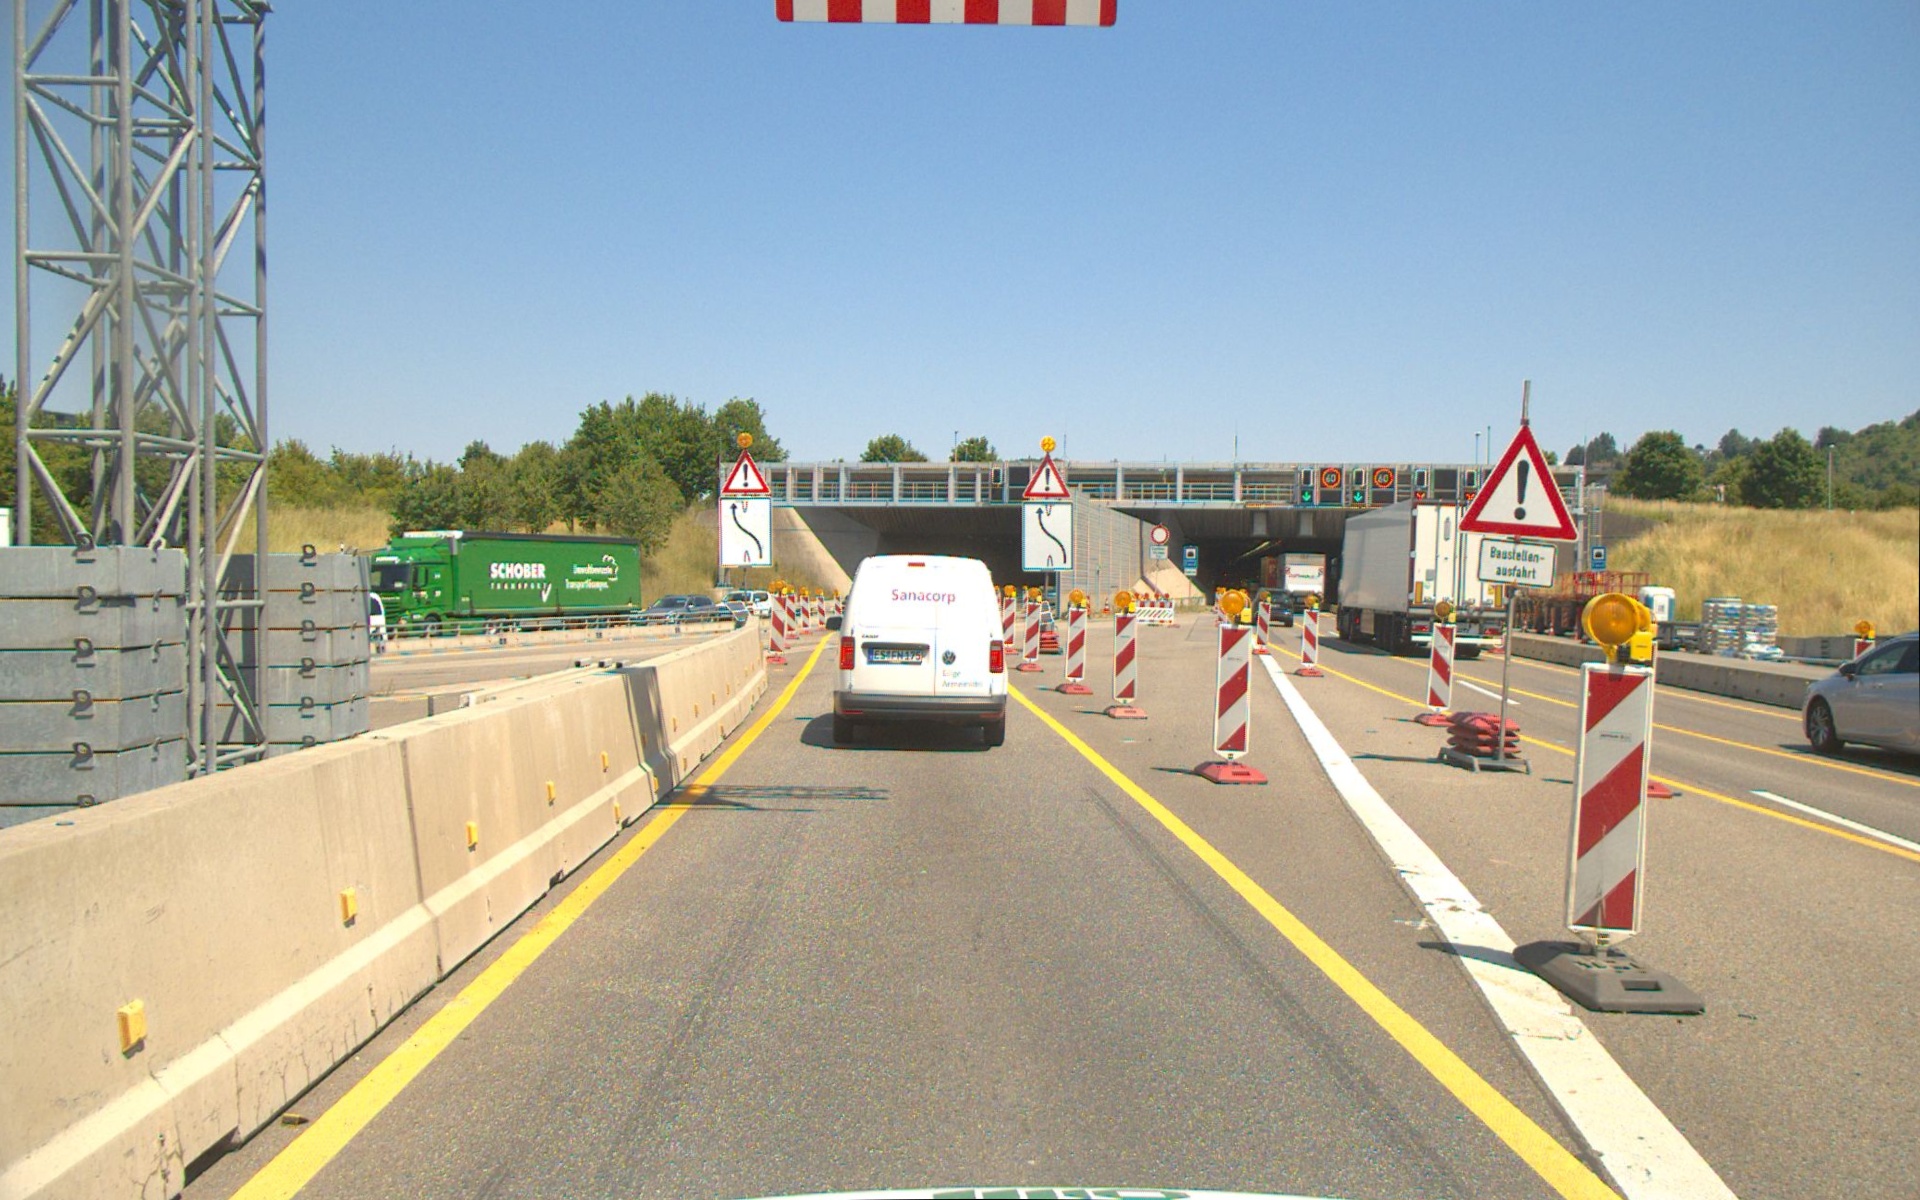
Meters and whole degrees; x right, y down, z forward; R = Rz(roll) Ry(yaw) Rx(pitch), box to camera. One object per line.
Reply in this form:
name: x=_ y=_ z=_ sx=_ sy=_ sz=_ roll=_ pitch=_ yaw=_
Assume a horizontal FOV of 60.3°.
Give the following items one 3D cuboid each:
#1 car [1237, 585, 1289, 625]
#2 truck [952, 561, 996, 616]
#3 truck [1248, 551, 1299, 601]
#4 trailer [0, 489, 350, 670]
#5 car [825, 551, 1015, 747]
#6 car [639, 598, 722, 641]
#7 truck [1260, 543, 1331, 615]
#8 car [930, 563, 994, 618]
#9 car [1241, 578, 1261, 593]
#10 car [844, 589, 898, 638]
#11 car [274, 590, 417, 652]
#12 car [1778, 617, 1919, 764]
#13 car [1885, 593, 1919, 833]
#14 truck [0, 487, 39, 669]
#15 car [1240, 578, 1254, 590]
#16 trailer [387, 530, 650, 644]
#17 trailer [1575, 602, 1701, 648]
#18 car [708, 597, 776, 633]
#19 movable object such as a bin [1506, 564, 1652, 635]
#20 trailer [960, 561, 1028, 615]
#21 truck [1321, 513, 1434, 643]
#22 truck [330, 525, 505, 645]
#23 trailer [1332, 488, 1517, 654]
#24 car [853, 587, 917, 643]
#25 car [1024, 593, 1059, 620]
car: x=13.388 y=0.199 z=73.281 sx=1.777 sy=1.658 sz=4.192 roll=2 pitch=0 yaw=4
truck: x=1.180 y=-0.957 z=133.205 sx=2.380 sy=4.344 sz=4.842 roll=0 pitch=0 yaw=16
truck: x=28.877 y=-2.111 z=152.972 sx=3.330 sy=4.142 sz=16.548 roll=2 pitch=0 yaw=7
trailer: x=-23.704 y=-0.543 z=48.008 sx=2.608 sy=4.578 sz=14.937 roll=2 pitch=0 yaw=17
car: x=-0.433 y=0.448 z=17.297 sx=1.772 sy=1.825 sz=3.729 roll=0 pitch=0 yaw=-2
car: x=-11.284 y=0.767 z=67.080 sx=1.679 sy=1.652 sz=4.173 roll=1 pitch=0 yaw=16
truck: x=22.969 y=-1.289 z=114.064 sx=3.330 sy=4.411 sz=16.547 roll=2 pitch=-1 yaw=7
car: x=0.188 y=-0.463 z=91.042 sx=2.754 sy=2.822 sz=7.105 roll=2 pitch=-1 yaw=6
car: x=38.846 y=-1.938 z=220.771 sx=2.282 sy=1.870 sz=4.547 roll=2 pitch=0 yaw=7
car: x=-3.422 y=0.509 z=64.299 sx=1.771 sy=1.847 sz=4.410 roll=0 pitch=0 yaw=1
car: x=-17.614 y=0.588 z=47.584 sx=1.679 sy=1.652 sz=4.173 roll=1 pitch=0 yaw=16
car: x=10.915 y=0.993 z=18.027 sx=1.777 sy=1.490 sz=4.654 roll=2 pitch=0 yaw=2
car: x=7.515 y=0.823 z=9.636 sx=1.777 sy=1.671 sz=4.654 roll=2 pitch=0 yaw=3
truck: x=-25.870 y=-0.607 z=40.874 sx=2.608 sy=4.578 sz=4.845 roll=2 pitch=0 yaw=17
car: x=42.092 y=-2.296 z=242.734 sx=1.776 sy=1.658 sz=4.193 roll=2 pitch=0 yaw=7
trailer: x=-18.318 y=-0.481 z=70.425 sx=3.472 sy=4.345 sz=13.911 roll=1 pitch=0 yaw=19
trailer: x=25.970 y=0.930 z=63.637 sx=2.540 sy=1.596 sz=6.238 roll=0 pitch=0 yaw=3
car: x=-10.432 y=0.676 z=79.287 sx=1.679 sy=1.652 sz=4.173 roll=1 pitch=0 yaw=16
movable object such as a bin: x=29.011 y=-0.024 z=78.416 sx=3.045 sy=3.063 sz=14.712 roll=0 pitch=0 yaw=7
trailer: x=2.993 y=-0.974 z=139.695 sx=2.384 sy=4.372 sz=13.819 roll=0 pitch=0 yaw=15
truck: x=14.091 y=-0.701 z=56.287 sx=2.687 sy=4.103 sz=5.930 roll=2 pitch=0 yaw=5
truck: x=-20.735 y=-0.542 z=63.556 sx=3.472 sy=4.345 sz=5.780 roll=1 pitch=0 yaw=20
trailer: x=13.432 y=-0.726 z=49.277 sx=2.675 sy=4.133 sz=14.104 roll=2 pitch=0 yaw=5
car: x=-2.247 y=0.406 z=48.657 sx=1.773 sy=1.564 sz=4.406 roll=0 pitch=0 yaw=-4
car: x=5.696 y=0.420 z=114.882 sx=1.912 sy=1.847 sz=4.413 roll=0 pitch=0 yaw=10
